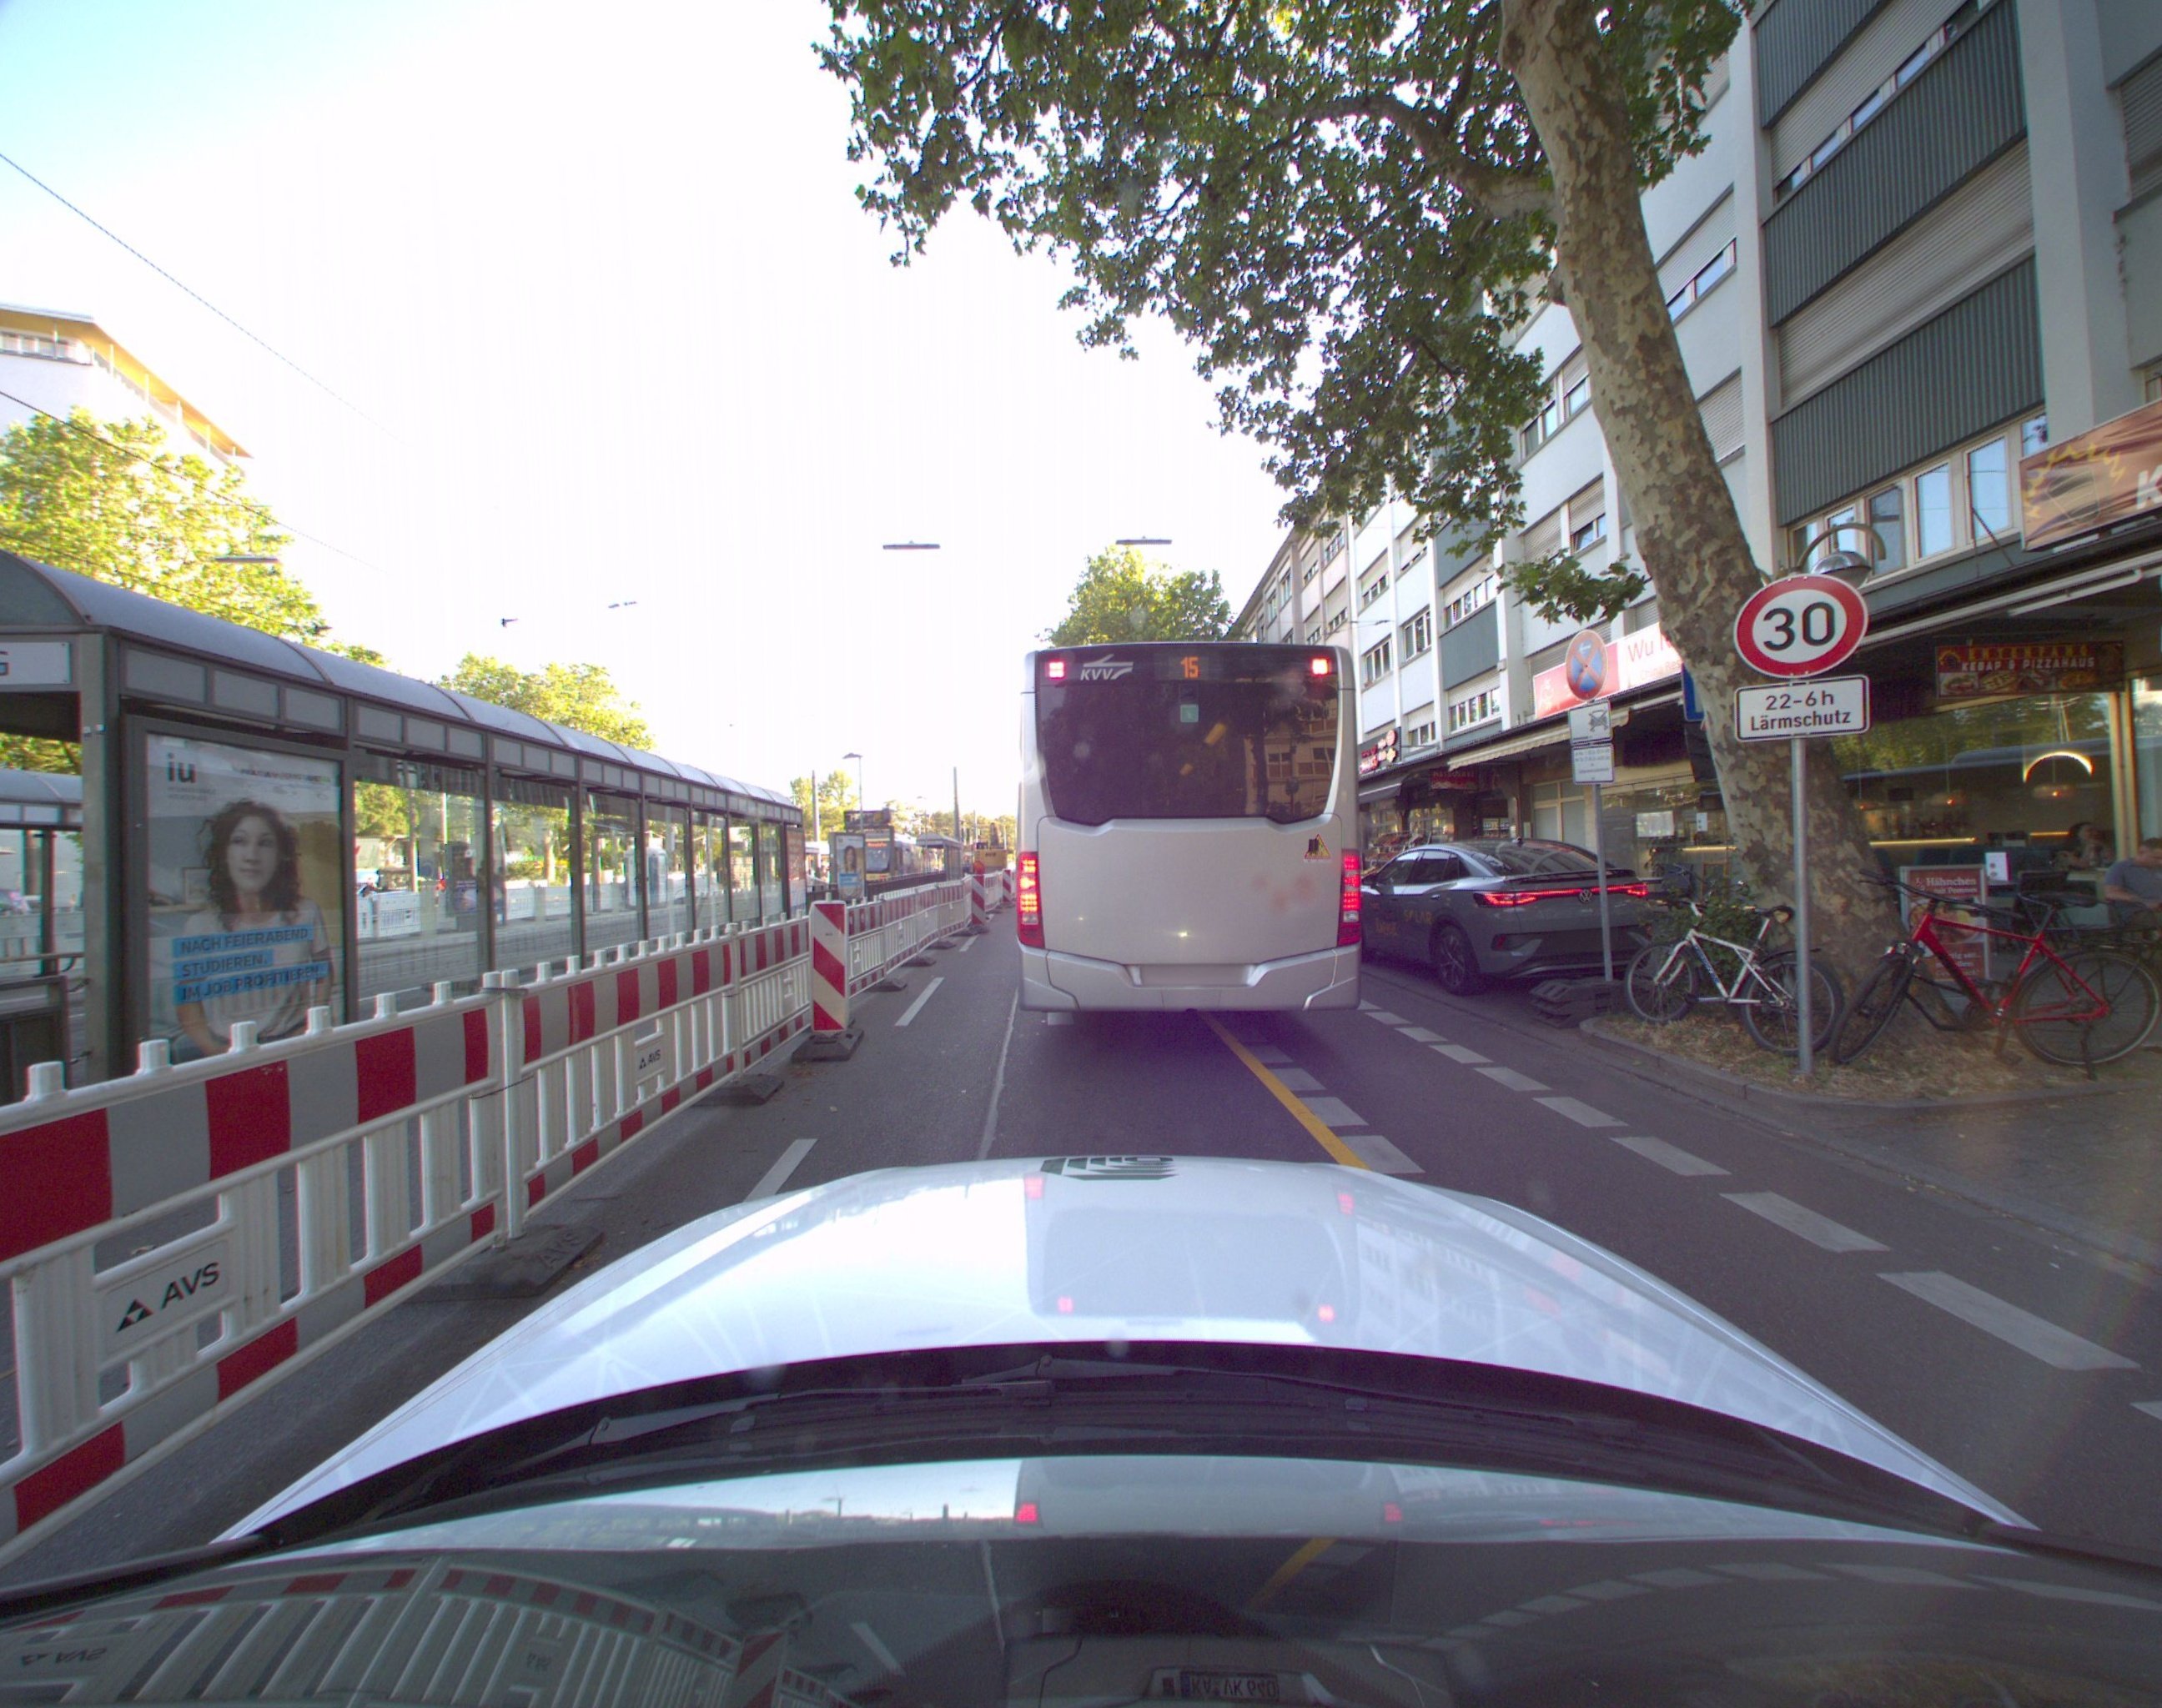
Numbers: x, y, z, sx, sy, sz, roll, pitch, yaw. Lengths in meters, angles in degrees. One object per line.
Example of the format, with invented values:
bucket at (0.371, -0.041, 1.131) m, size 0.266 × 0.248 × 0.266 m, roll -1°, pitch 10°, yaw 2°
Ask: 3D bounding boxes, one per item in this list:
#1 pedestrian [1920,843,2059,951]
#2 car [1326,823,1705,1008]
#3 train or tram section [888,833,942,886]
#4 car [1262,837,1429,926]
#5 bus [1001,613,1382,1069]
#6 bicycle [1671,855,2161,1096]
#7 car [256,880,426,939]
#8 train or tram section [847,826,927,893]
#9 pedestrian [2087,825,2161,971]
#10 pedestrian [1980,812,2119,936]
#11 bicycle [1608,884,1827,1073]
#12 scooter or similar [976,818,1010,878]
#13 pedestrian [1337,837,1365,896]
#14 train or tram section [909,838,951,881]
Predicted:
pedestrian at (9.855, 0.446, 8.844) m, size 0.643 × 1.081 × 0.945 m, roll -2°, pitch -1°, yaw -39°
car at (4.729, 0.564, 9.785) m, size 1.989 × 1.582 × 4.364 m, roll -4°, pitch 0°, yaw -3°
train or tram section at (-12.256, 0.422, 61.054) m, size 2.682 × 3.558 × 11.559 m, roll 0°, pitch -1°, yaw -5°
car at (5.604, 0.526, 17.923) m, size 1.989 × 1.582 × 4.364 m, roll -4°, pitch 0°, yaw -3°
bus at (0.885, -0.067, 9.599) m, size 2.601 × 3.126 × 7.996 m, roll 0°, pitch 0°, yaw 2°
bicycle at (5.052, 0.720, 4.835) m, size 2.370 × 1.155 × 0.557 m, roll -7°, pitch -2°, yaw 14°
car at (-24.437, 1.767, 27.118) m, size 1.988 × 1.662 × 3.997 m, roll -2°, pitch 0°, yaw -1°
train or tram section at (-11.454, 0.348, 49.399) m, size 2.681 × 3.534 × 11.756 m, roll 0°, pitch -1°, yaw -3°
pedestrian at (9.618, 0.372, 7.191) m, size 0.555 × 1.245 × 0.692 m, roll -4°, pitch 0°, yaw 8°
pedestrian at (11.118, 0.219, 9.369) m, size 0.836 × 1.333 × 0.963 m, roll -2°, pitch -1°, yaw -39°
bicycle at (4.569, 0.834, 5.976) m, size 0.550 × 1.155 × 1.446 m, roll -2°, pitch -1°, yaw 6°
scooter or similar at (-6.958, -0.429, 64.877) m, size 2.465 × 4.471 × 5.961 m, roll -2°, pitch -1°, yaw -5°
pedestrian at (7.926, 0.371, 23.894) m, size 0.658 × 1.666 × 0.603 m, roll -4°, pitch -1°, yaw 18°
train or tram section at (-13.292, 0.485, 72.602) m, size 2.683 × 3.533 × 11.558 m, roll 0°, pitch -1°, yaw -6°
